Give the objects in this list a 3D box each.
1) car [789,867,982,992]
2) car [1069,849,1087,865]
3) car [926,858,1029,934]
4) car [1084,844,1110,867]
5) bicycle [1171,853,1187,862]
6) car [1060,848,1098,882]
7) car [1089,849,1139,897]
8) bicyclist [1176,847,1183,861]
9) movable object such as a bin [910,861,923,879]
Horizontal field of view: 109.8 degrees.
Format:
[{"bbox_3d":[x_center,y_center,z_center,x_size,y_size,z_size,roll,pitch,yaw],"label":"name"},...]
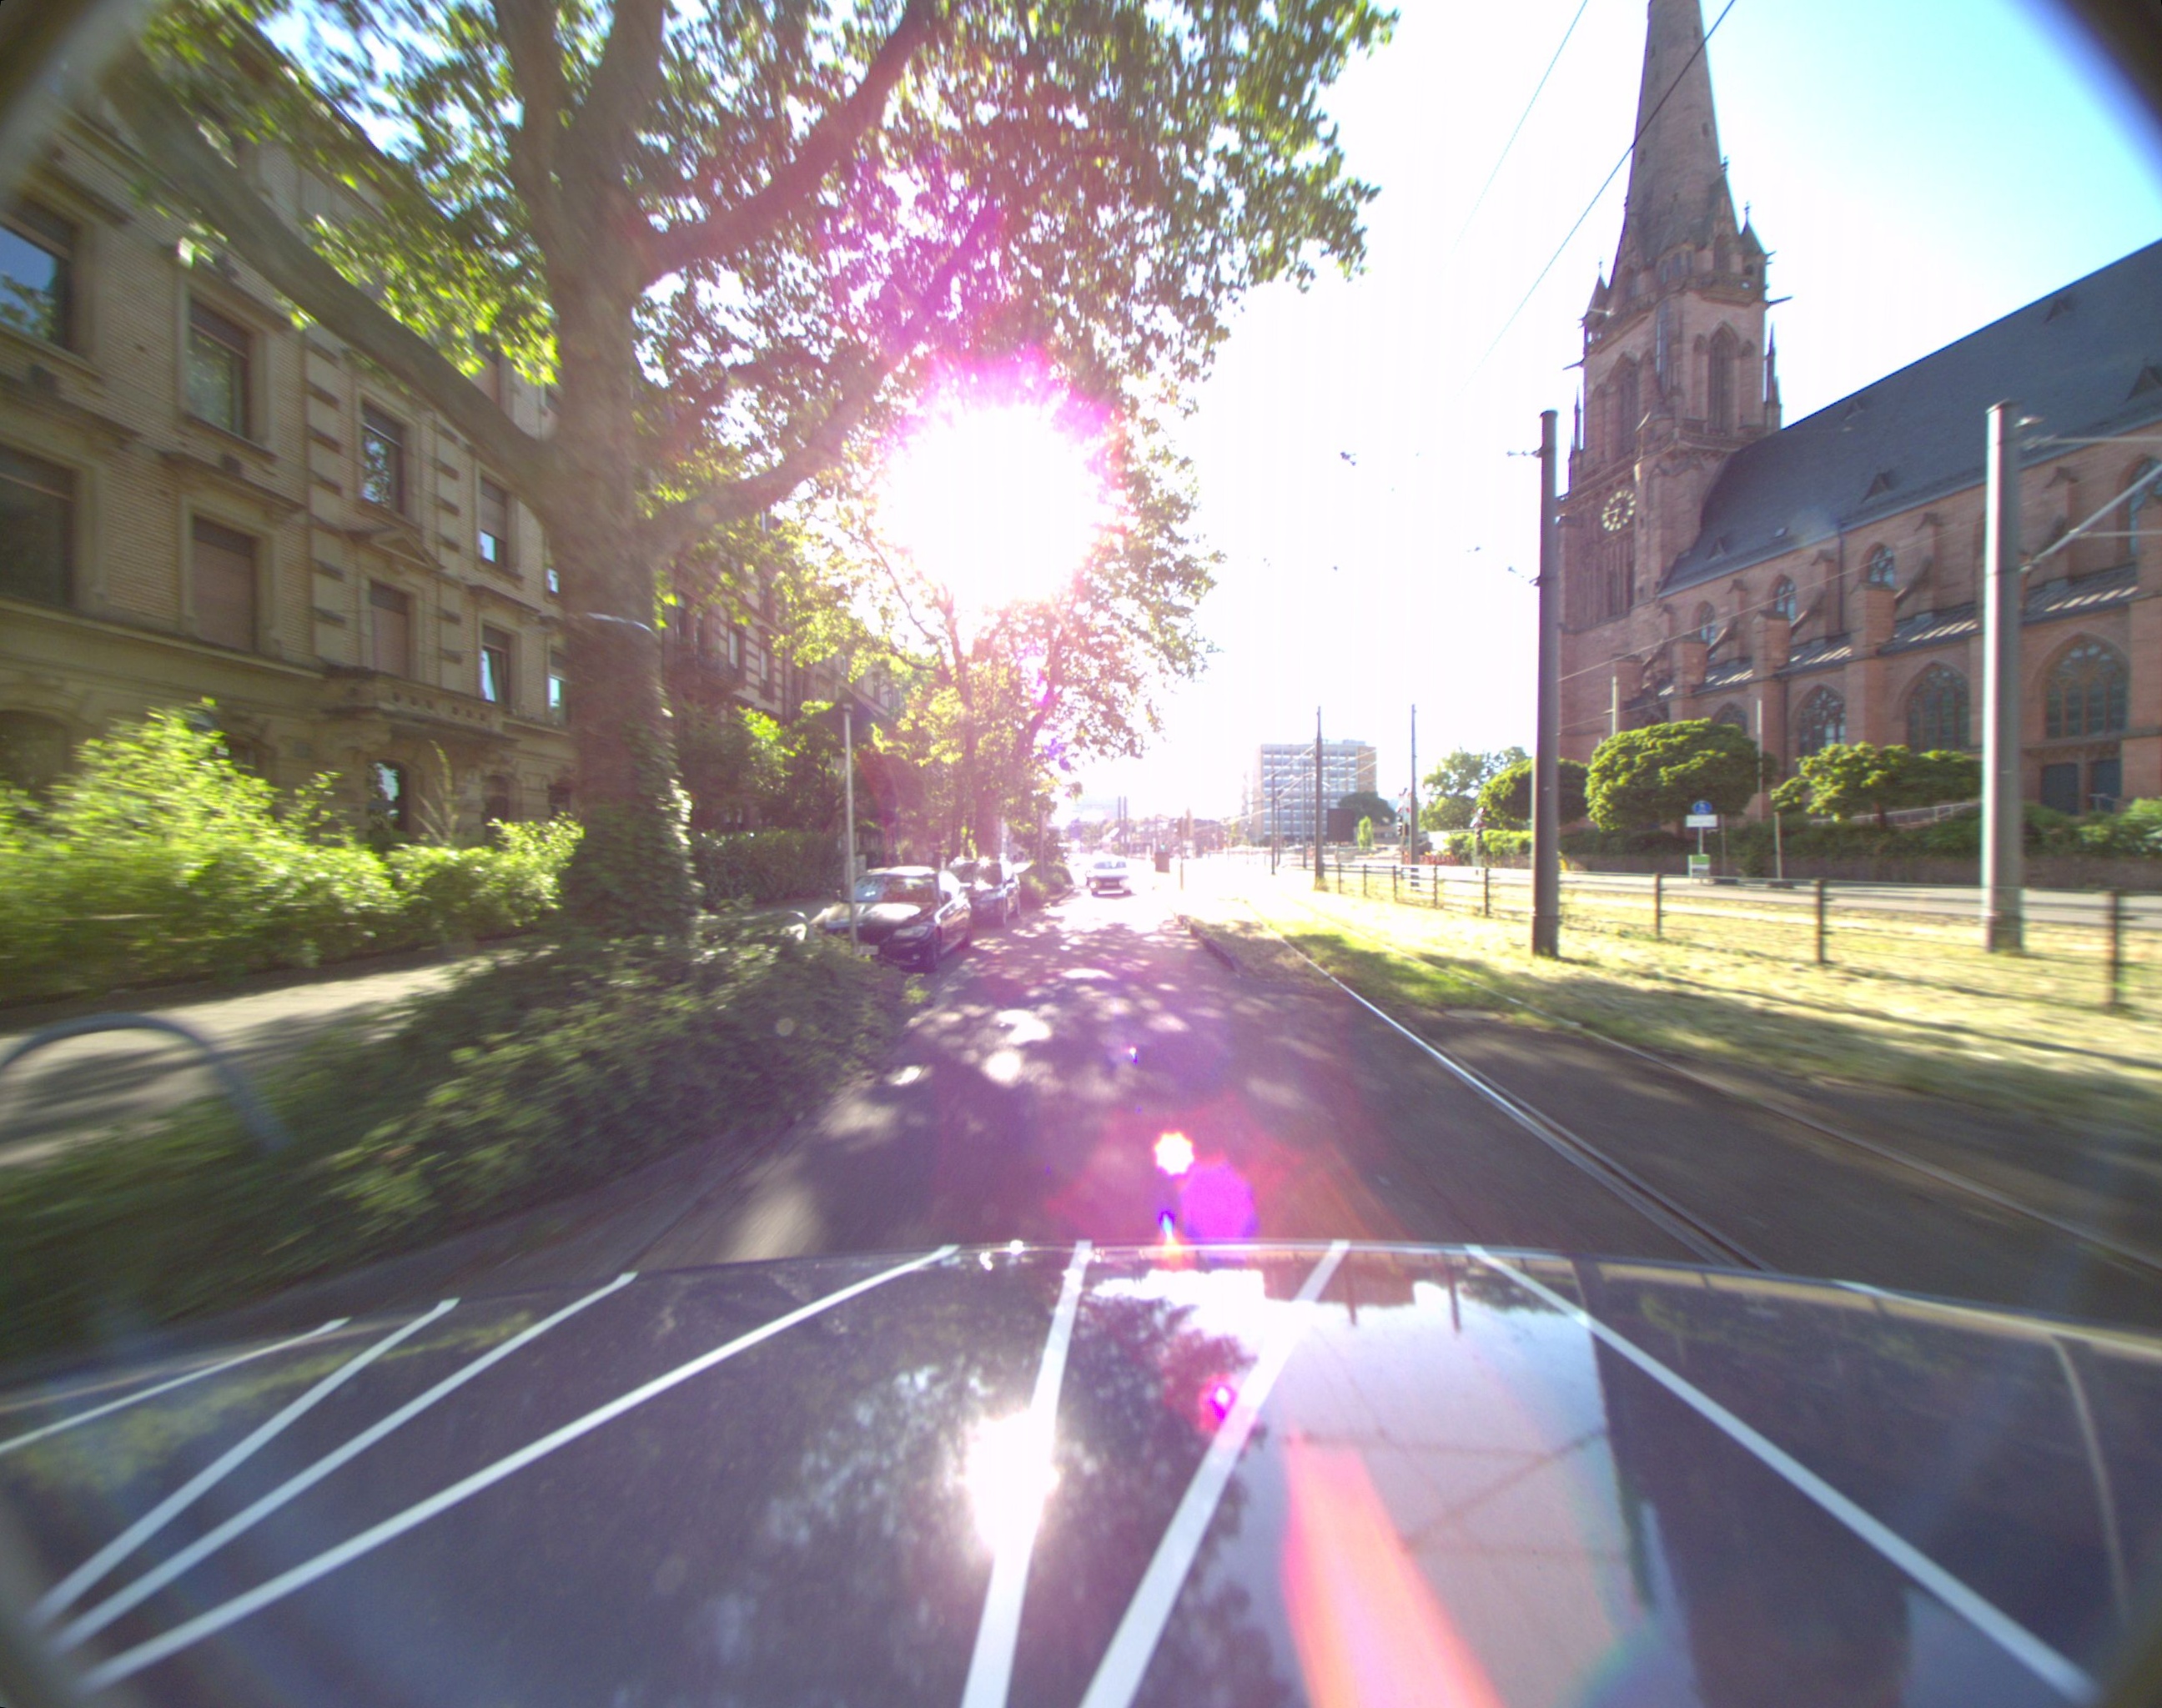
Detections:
[{"bbox_3d":[-2.719,0.974,11.698,1.680,1.386,4.569,0,1,2],"label":"car"},{"bbox_3d":[-0.311,0.333,86.226,1.823,1.605,4.000,-3,1,2],"label":"car"},{"bbox_3d":[-2.364,0.895,18.443,1.680,1.508,4.723,0,1,2],"label":"car"},{"bbox_3d":[1.193,0.097,57.402,1.823,1.605,3.999,-3,1,0],"label":"car"},{"bbox_3d":[13.182,0.415,102.294,2.063,1.077,0.611,-3,1,19],"label":"bicycle"},{"bbox_3d":[-0.047,0.568,41.882,1.823,1.605,4.000,-3,1,2],"label":"car"},{"bbox_3d":[1.336,0.773,31.112,1.823,1.728,4.002,-3,-1,2],"label":"car"},{"bbox_3d":[13.221,0.000,102.260,0.775,1.861,0.611,-3,1,19],"label":"bicyclist"},{"bbox_3d":[-9.045,0.877,41.832,0.604,0.894,0.717,-3,1,-10],"label":"movable object such as a bin"}]
